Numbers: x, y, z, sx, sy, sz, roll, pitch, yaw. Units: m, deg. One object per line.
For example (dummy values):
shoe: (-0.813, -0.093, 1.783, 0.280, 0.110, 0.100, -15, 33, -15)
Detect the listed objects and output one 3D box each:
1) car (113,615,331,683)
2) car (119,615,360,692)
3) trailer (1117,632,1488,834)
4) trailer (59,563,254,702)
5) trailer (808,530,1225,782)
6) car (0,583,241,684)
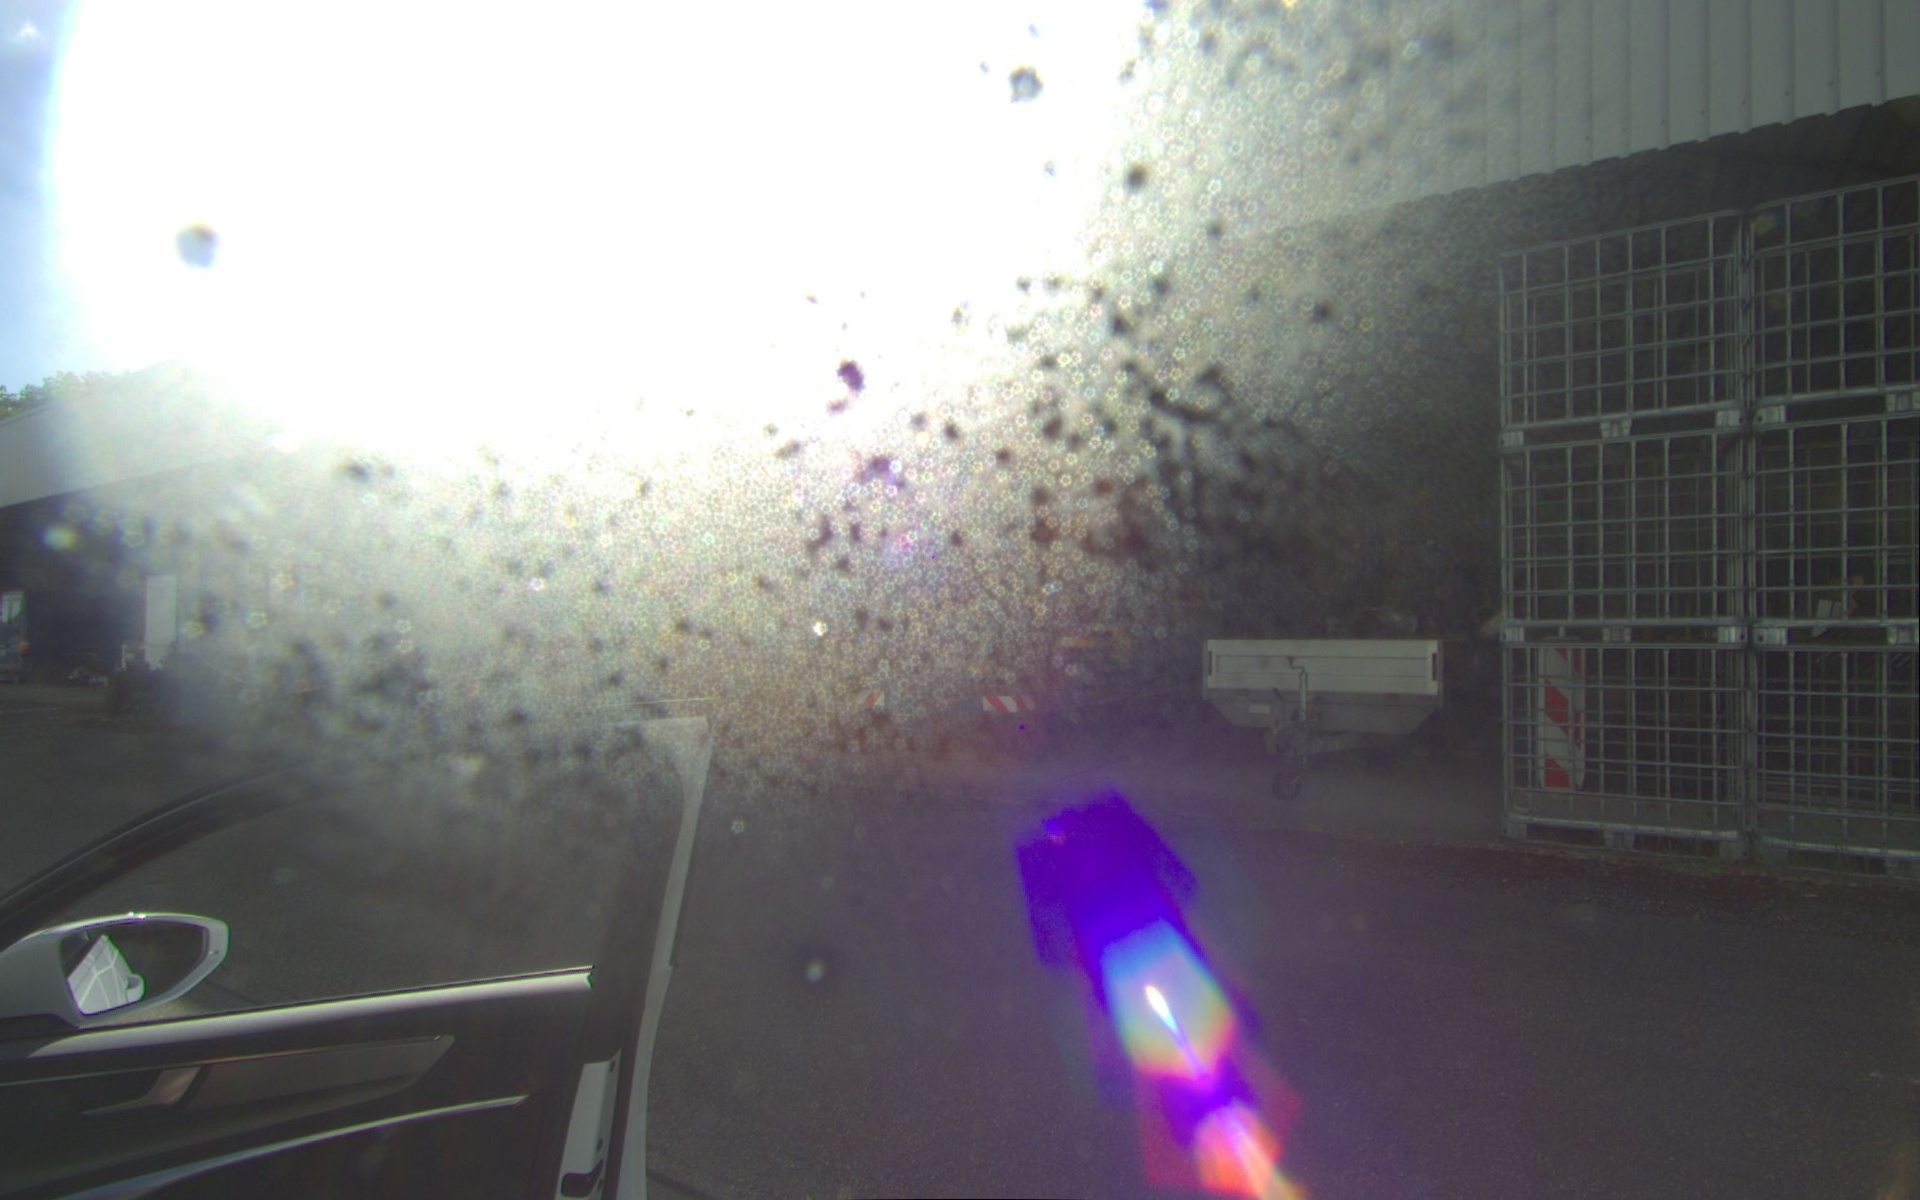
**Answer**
car: (-18.218, 1.247, 24.909, 1.662, 1.543, 4.031, -3, -5, 33)
car: (-15.879, 1.221, 22.293, 1.662, 1.543, 4.031, -3, -5, 33)
trailer: (3.504, 0.911, 9.175, 2.110, 1.148, 5.840, -1, -1, 30)
trailer: (-15.264, 0.627, 19.093, 1.703, 2.429, 2.518, -2, -2, 33)
trailer: (1.012, 0.517, 11.155, 2.049, 2.058, 5.753, -1, -1, 33)
car: (-21.371, 0.931, 25.638, 1.890, 2.337, 4.425, -3, -4, 33)
